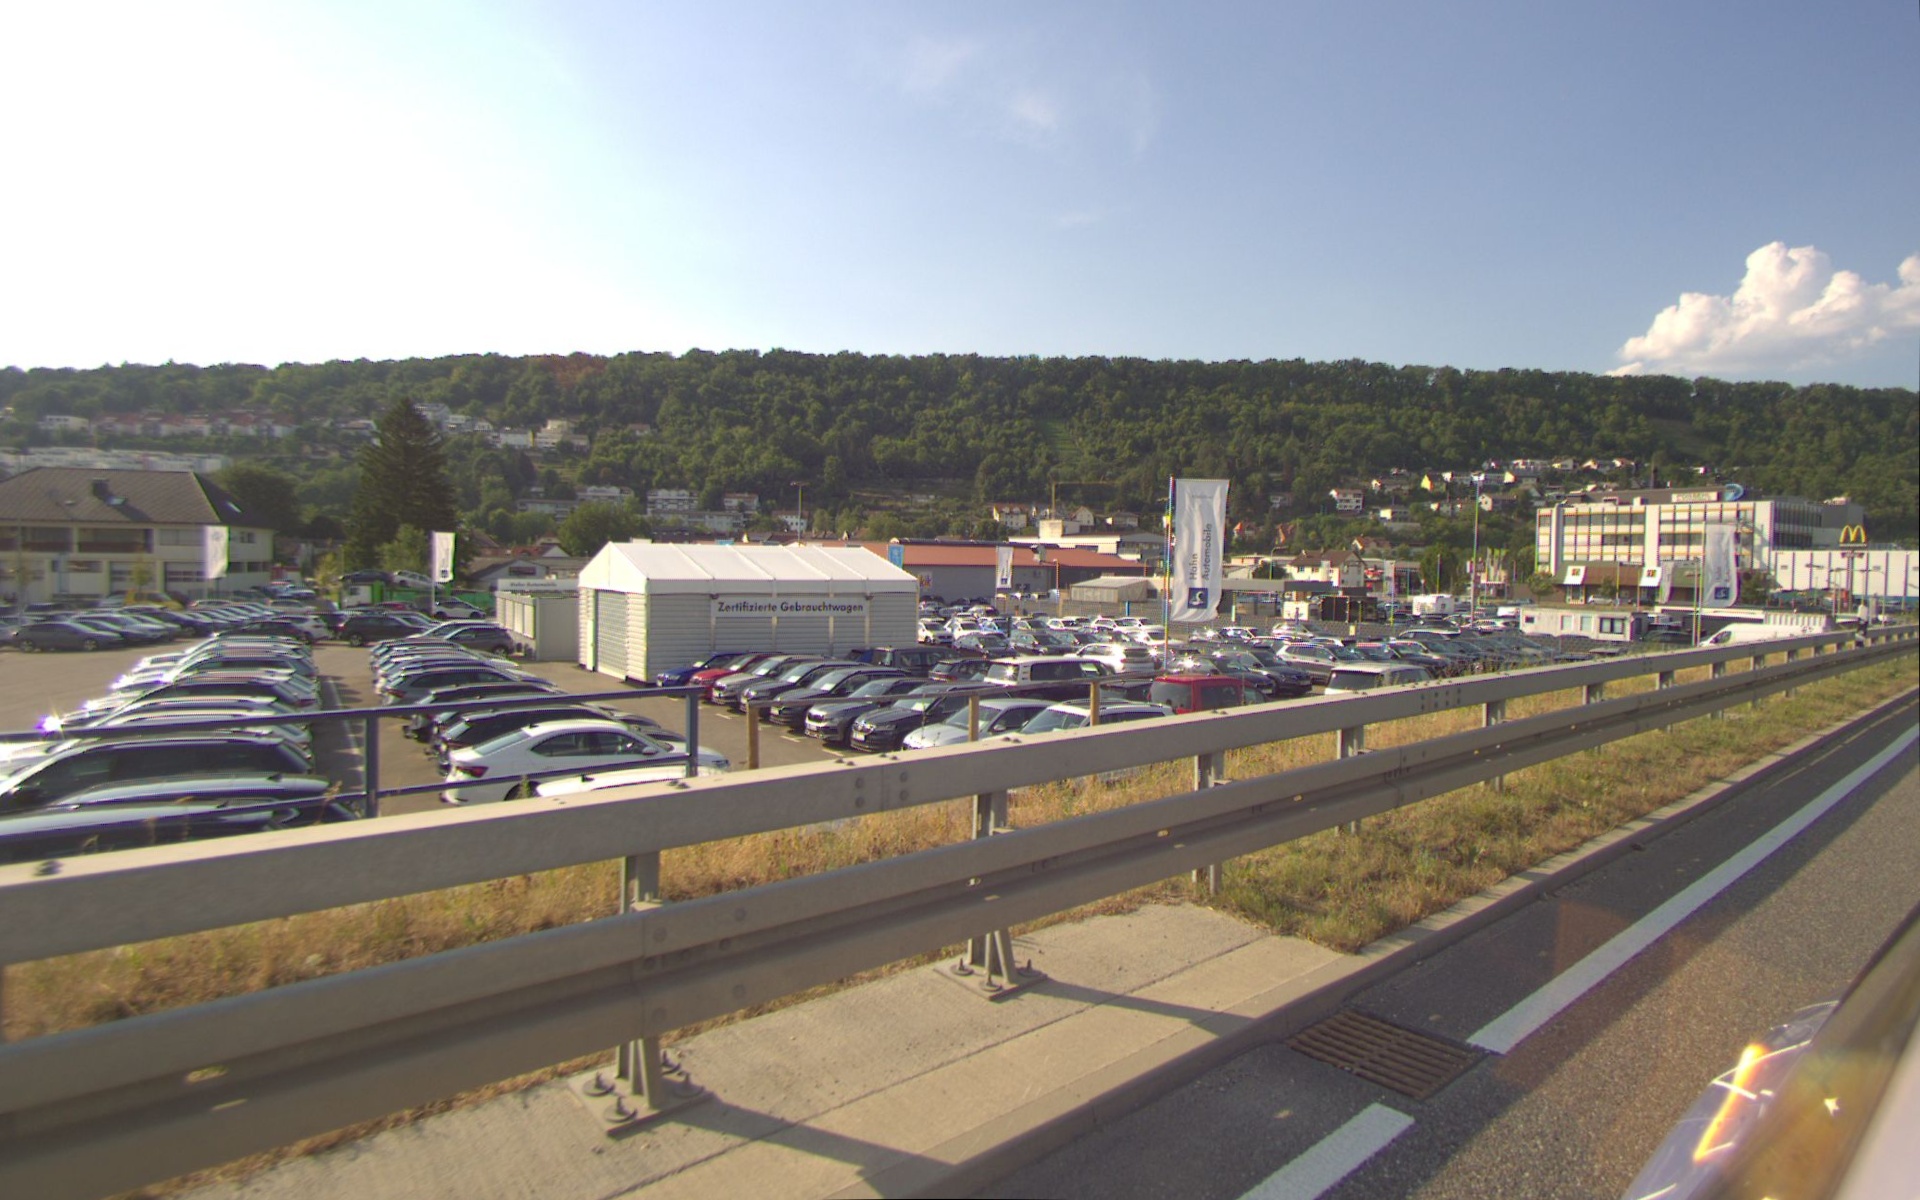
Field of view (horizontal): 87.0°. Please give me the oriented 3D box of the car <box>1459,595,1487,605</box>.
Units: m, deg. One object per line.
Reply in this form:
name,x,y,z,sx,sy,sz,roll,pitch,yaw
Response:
car,81.340,-0.018,160.568,1.658,1.438,3.653,-1,1,-35

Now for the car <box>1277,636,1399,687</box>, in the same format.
car,15.105,2.412,40.670,1.806,1.687,4.435,-1,1,-33

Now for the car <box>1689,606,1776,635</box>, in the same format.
car,52.066,1.357,68.263,2.093,1.772,4.332,-1,1,-38

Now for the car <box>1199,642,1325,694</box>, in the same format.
car,11.203,2.485,37.799,1.765,1.628,4.435,1,0,-33

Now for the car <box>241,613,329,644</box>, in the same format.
car,-37.094,1.536,55.710,3.700,1.597,1.756,-1,1,-18

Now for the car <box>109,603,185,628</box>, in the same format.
car,-55.678,1.039,69.386,3.701,1.597,1.756,-1,1,-20

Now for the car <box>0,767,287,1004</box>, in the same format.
car,-8.460,2.588,9.025,3.930,1.482,1.709,-1,1,-41

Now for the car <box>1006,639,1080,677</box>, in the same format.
car,4.084,2.873,50.548,1.746,1.584,4.004,-1,1,-29

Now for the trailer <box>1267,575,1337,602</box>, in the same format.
trailer,26.996,-0.929,79.722,6.166,2.048,2.000,-1,1,-36

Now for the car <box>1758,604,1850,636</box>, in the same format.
car,51.037,1.170,61.259,1.867,1.772,3.996,-1,1,-38

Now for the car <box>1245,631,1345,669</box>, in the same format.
car,16.017,2.352,48.584,1.766,1.563,4.435,-1,1,-33

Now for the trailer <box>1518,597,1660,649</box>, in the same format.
trailer,44.096,1.523,71.204,3.296,3.364,7.903,-1,1,-36

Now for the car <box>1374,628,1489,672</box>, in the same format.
car,21.191,2.204,45.625,1.766,1.735,4.435,-1,1,-33

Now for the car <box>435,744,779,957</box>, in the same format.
car,-4.343,2.958,12.738,3.769,1.700,1.615,-1,1,-41

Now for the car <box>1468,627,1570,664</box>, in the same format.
car,27.097,2.158,49.147,1.754,1.563,3.984,-1,1,-37

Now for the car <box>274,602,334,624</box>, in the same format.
car,-50.974,1.011,78.734,3.701,1.597,1.756,-1,1,-24

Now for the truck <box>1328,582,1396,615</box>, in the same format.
truck,30.004,-0.145,75.425,5.860,2.400,1.999,-1,1,-38

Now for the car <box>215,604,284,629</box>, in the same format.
car,-49.878,1.140,71.141,3.701,1.597,1.756,-1,1,-24

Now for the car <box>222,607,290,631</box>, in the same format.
car,-50.695,1.339,72.933,3.701,1.597,1.756,-1,1,-24

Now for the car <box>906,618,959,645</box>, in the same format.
car,-1.708,1.899,62.560,1.677,1.482,4.005,-1,1,-28

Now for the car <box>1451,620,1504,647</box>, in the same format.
car,34.662,2.227,67.753,3.817,1.583,1.602,-1,1,-35

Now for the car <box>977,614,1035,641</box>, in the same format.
car,2.943,1.733,65.475,1.764,1.563,4.351,-1,1,-29

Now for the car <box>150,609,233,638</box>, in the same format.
car,-46.761,1.398,61.675,3.701,1.597,1.756,-1,1,-24

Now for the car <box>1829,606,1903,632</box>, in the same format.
car,69.522,1.426,77.685,1.802,1.838,3.996,-1,1,-39

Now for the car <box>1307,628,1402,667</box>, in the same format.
car,20.339,2.400,52.347,1.766,1.735,4.435,-1,1,-33

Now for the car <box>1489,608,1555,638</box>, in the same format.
car,36.210,1.461,65.137,4.412,1.722,1.972,-1,1,-35

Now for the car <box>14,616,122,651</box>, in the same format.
car,-44.691,1.648,50.792,3.701,1.597,1.756,-1,1,-24

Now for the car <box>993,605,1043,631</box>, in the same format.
car,4.148,1.242,72.956,1.746,1.749,4.004,-1,1,-29

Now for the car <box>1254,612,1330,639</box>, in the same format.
car,20.632,1.553,63.068,1.766,1.563,4.435,-1,1,-33

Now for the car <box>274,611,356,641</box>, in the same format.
car,-37.609,1.495,59.094,3.700,1.597,1.756,-1,1,-18

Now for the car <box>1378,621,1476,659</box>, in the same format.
car,24.538,2.065,53.358,1.766,1.735,4.435,-1,1,-33

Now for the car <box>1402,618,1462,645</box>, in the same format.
car,30.546,2.009,65.457,4.204,1.614,1.602,-1,1,-35

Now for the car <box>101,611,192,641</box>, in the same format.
car,-46.471,1.466,57.912,3.701,1.597,1.756,-1,1,-24

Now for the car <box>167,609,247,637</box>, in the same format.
car,-47.557,1.440,63.995,3.701,1.597,1.756,-1,1,-24

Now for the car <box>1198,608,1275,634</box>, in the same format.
car,16.421,1.218,60.286,1.766,1.386,4.435,-1,1,-33

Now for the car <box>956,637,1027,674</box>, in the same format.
car,1.490,2.644,48.945,1.677,1.482,4.005,-1,1,-28

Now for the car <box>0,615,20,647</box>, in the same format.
car,-50.168,1.599,50.981,3.701,1.597,1.756,-1,1,-20

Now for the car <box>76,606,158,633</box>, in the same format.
car,-54.083,1.244,65.000,3.701,1.597,1.756,-1,1,-20

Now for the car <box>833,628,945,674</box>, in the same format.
car,-2.728,1.933,39.172,3.924,1.482,1.960,-1,1,-35

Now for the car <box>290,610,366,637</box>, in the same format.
car,-39.835,1.450,63.869,3.700,1.597,1.756,-1,1,-18

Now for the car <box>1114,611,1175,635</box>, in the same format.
car,13.058,1.602,71.807,1.766,1.563,4.347,-1,1,-33

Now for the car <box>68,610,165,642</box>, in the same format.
car,-46.042,1.418,55.312,3.701,1.597,1.756,-1,1,-24

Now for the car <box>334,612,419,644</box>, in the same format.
car,-31.773,1.497,55.198,3.700,1.597,1.756,-1,1,-18

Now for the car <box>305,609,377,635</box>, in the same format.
car,-40.462,1.424,66.233,3.700,1.597,1.756,-1,1,-18

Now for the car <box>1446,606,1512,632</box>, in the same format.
car,39.229,1.387,76.561,1.772,1.677,4.000,-1,3,-37

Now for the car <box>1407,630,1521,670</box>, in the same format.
car,23.264,2.290,46.851,1.766,1.563,4.435,-1,1,-33

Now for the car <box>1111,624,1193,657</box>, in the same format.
car,10.351,2.136,54.813,1.766,1.563,4.435,-1,1,-33

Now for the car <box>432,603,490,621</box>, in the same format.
car,-39.598,0.925,80.316,3.916,1.367,1.593,-1,1,-18

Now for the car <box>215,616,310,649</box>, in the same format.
car,-36.272,1.678,52.730,3.700,1.597,1.756,-1,1,-18

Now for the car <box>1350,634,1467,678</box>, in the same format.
car,19.395,2.382,43.938,1.766,1.563,4.435,-1,1,-33

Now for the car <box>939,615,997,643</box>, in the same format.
car,0.464,1.813,64.168,1.764,1.563,4.351,-1,1,-29

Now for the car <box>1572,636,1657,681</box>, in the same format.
car,27.734,2.427,42.855,4.354,1.563,1.798,-1,1,-40

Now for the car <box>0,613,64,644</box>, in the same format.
car,-51.976,1.552,55.604,3.701,1.597,1.756,-1,1,-20

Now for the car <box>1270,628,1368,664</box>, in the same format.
car,17.851,2.255,50.528,1.766,1.563,4.435,-1,1,-33

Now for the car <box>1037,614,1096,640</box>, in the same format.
car,7.114,1.779,68.025,1.764,1.563,4.351,-1,1,-29
